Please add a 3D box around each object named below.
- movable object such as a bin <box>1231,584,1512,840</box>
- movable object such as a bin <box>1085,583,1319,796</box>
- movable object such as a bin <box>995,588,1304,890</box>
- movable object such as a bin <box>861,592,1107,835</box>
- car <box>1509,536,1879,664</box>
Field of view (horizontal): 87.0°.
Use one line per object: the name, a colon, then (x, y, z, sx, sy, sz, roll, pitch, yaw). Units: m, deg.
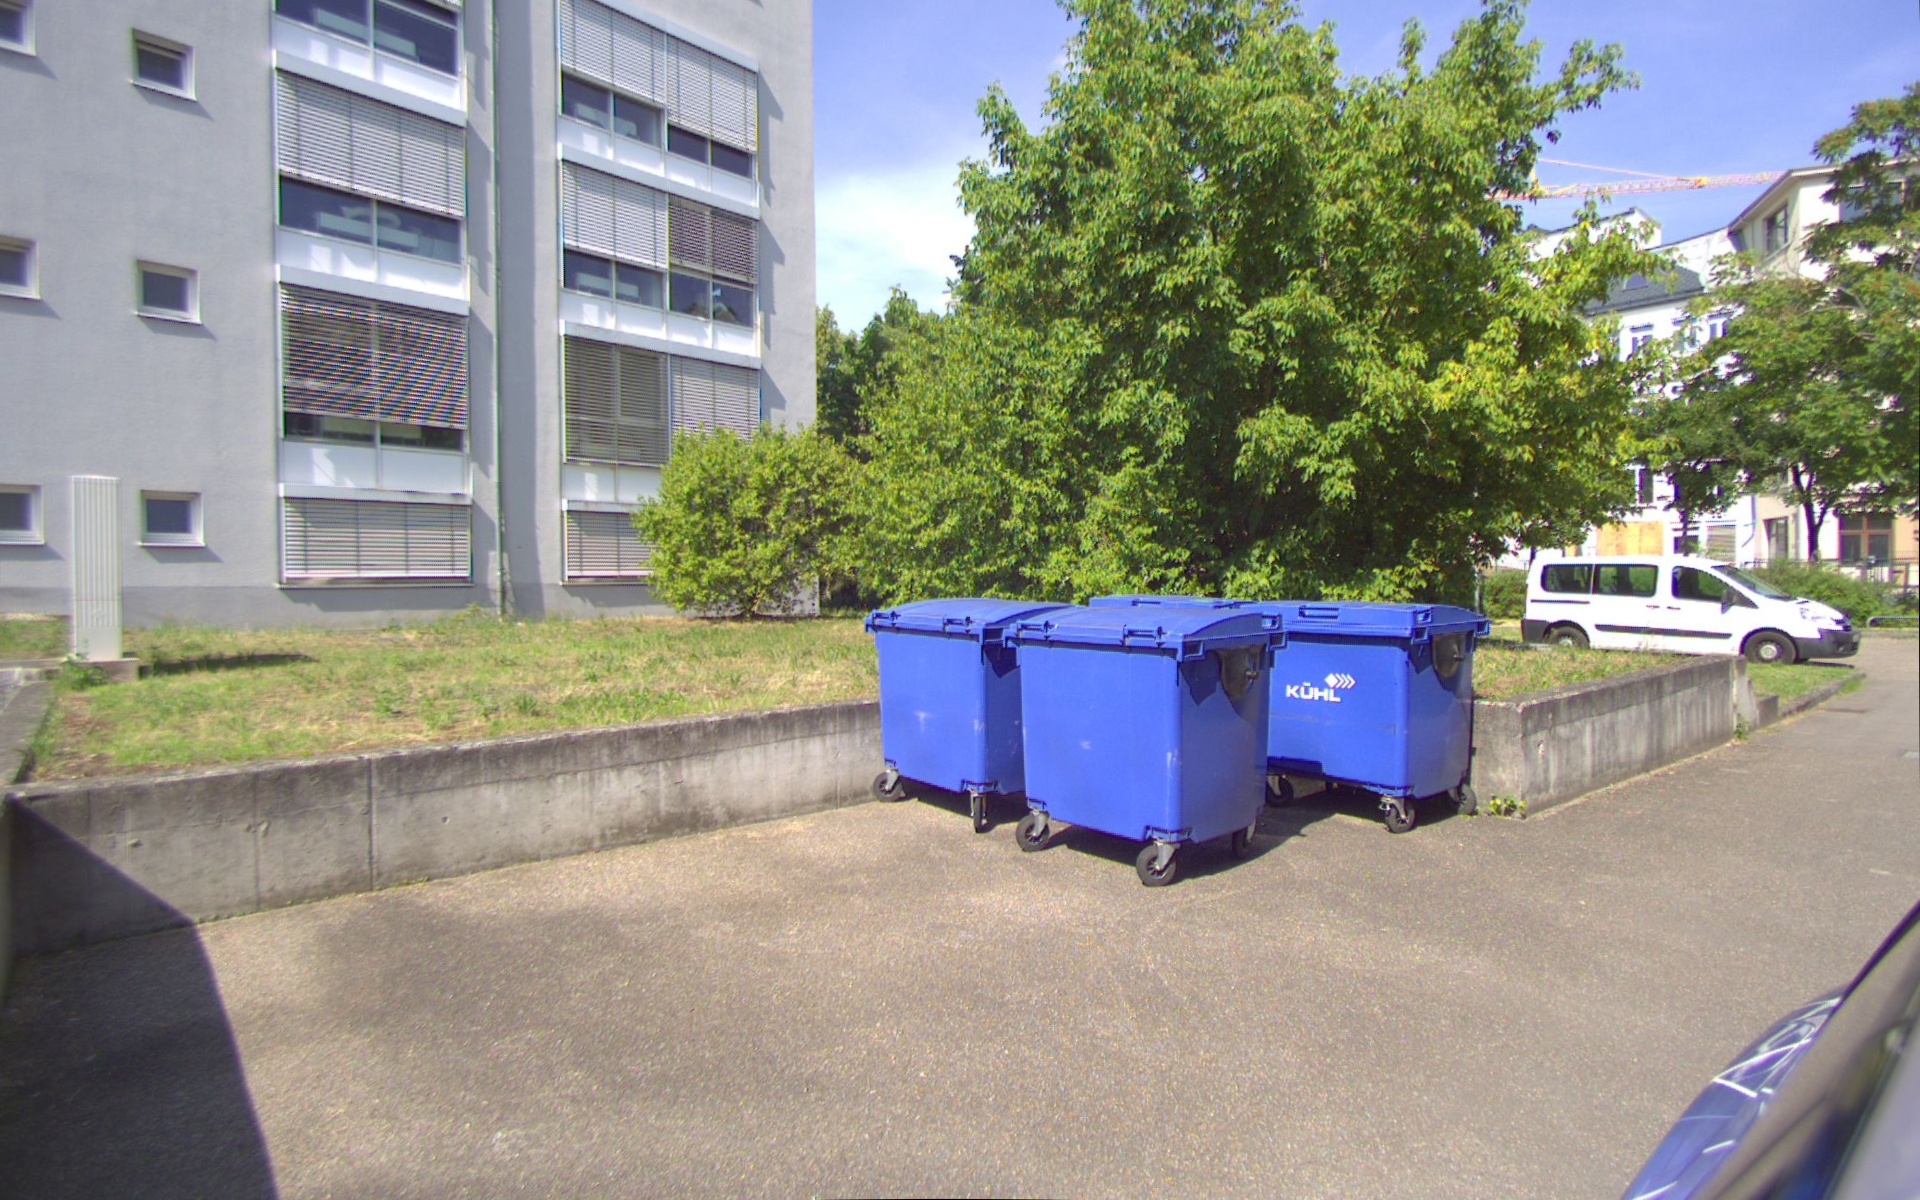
movable object such as a bin: (2.586, 0.606, 6.416, 1.122, 1.335, 1.250, -3, 4, -39)
movable object such as a bin: (1.749, 0.567, 7.392, 1.121, 1.357, 1.250, -1, 2, -38)
movable object such as a bin: (1.020, 0.631, 5.507, 1.110, 1.372, 1.248, -1, 2, -44)
movable object such as a bin: (0.154, 0.641, 6.585, 1.123, 1.353, 1.156, -1, 2, -44)
car: (12.848, -0.032, 18.044, 1.964, 1.957, 5.035, -1, 1, -39)
